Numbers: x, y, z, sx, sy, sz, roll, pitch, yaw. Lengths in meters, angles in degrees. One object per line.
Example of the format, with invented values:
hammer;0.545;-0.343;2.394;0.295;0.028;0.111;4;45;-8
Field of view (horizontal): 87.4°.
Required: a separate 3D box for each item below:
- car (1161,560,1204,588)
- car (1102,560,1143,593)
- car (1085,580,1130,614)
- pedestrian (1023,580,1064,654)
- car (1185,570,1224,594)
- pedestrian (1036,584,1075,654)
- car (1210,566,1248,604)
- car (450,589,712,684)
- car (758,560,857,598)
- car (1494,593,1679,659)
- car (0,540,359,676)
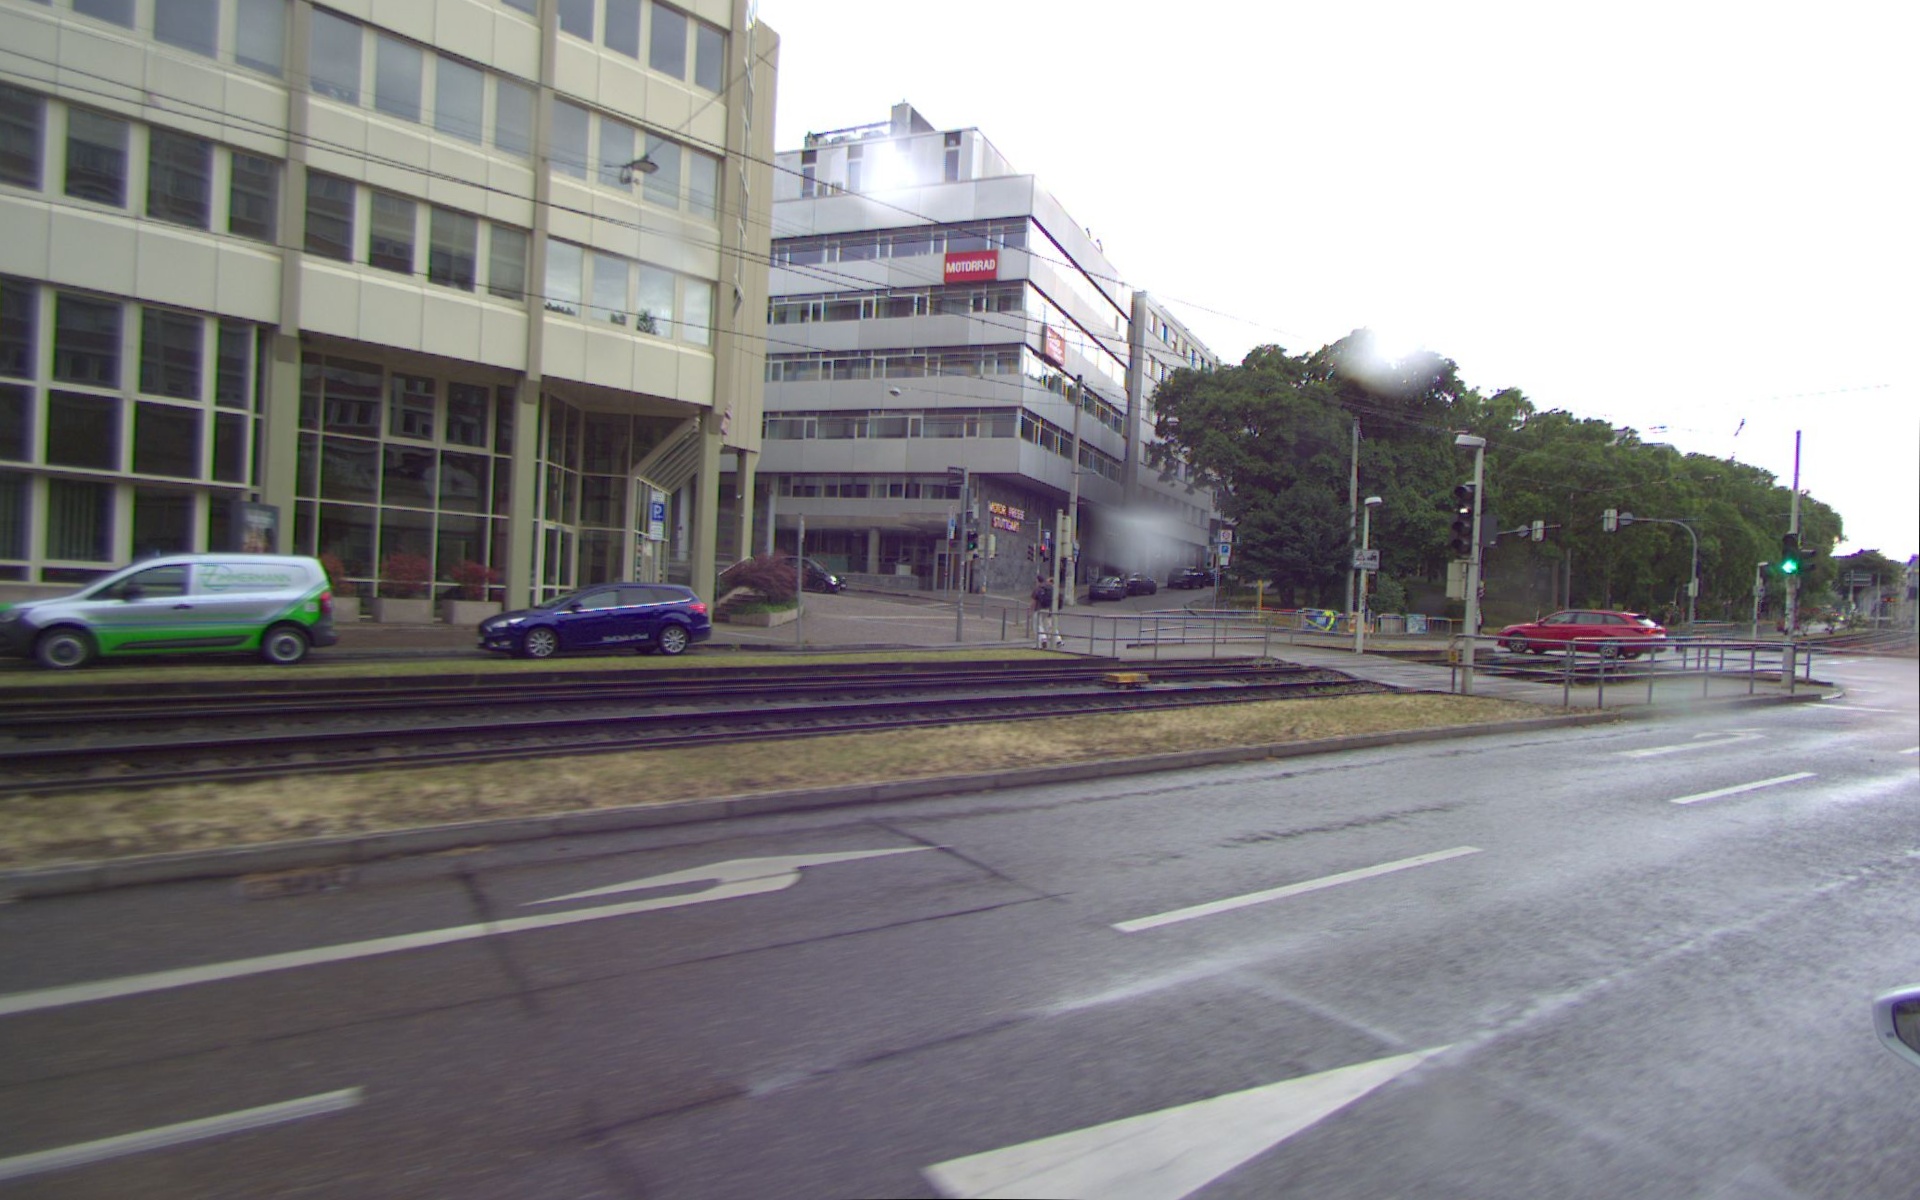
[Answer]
car;16.512;-1.907;74.317;1.963;1.818;4.204;4;2;28
car;10.357;-1.509;63.758;1.960;1.818;3.999;4;5;17
car;8.675;-0.192;58.816;1.960;1.818;4.001;4;2;17
pedestrian;2.125;0.428;25.602;0.630;1.811;0.808;5;2;34
car;19.925;-1.447;81.788;1.964;1.818;4.202;5;2;29
pedestrian;2.553;0.498;26.813;0.630;1.811;0.808;5;2;34
car;23.182;-1.271;86.441;1.964;3.038;4.202;4;2;29
car;-7.538;0.704;20.219;4.513;1.603;1.976;2;2;-41
car;-6.766;-0.939;44.717;3.919;1.383;1.831;4;2;14
car;19.338;0.778;31.186;1.967;1.662;4.373;2;2;-34
car;-12.594;0.135;16.227;4.658;1.875;1.976;2;2;-41
